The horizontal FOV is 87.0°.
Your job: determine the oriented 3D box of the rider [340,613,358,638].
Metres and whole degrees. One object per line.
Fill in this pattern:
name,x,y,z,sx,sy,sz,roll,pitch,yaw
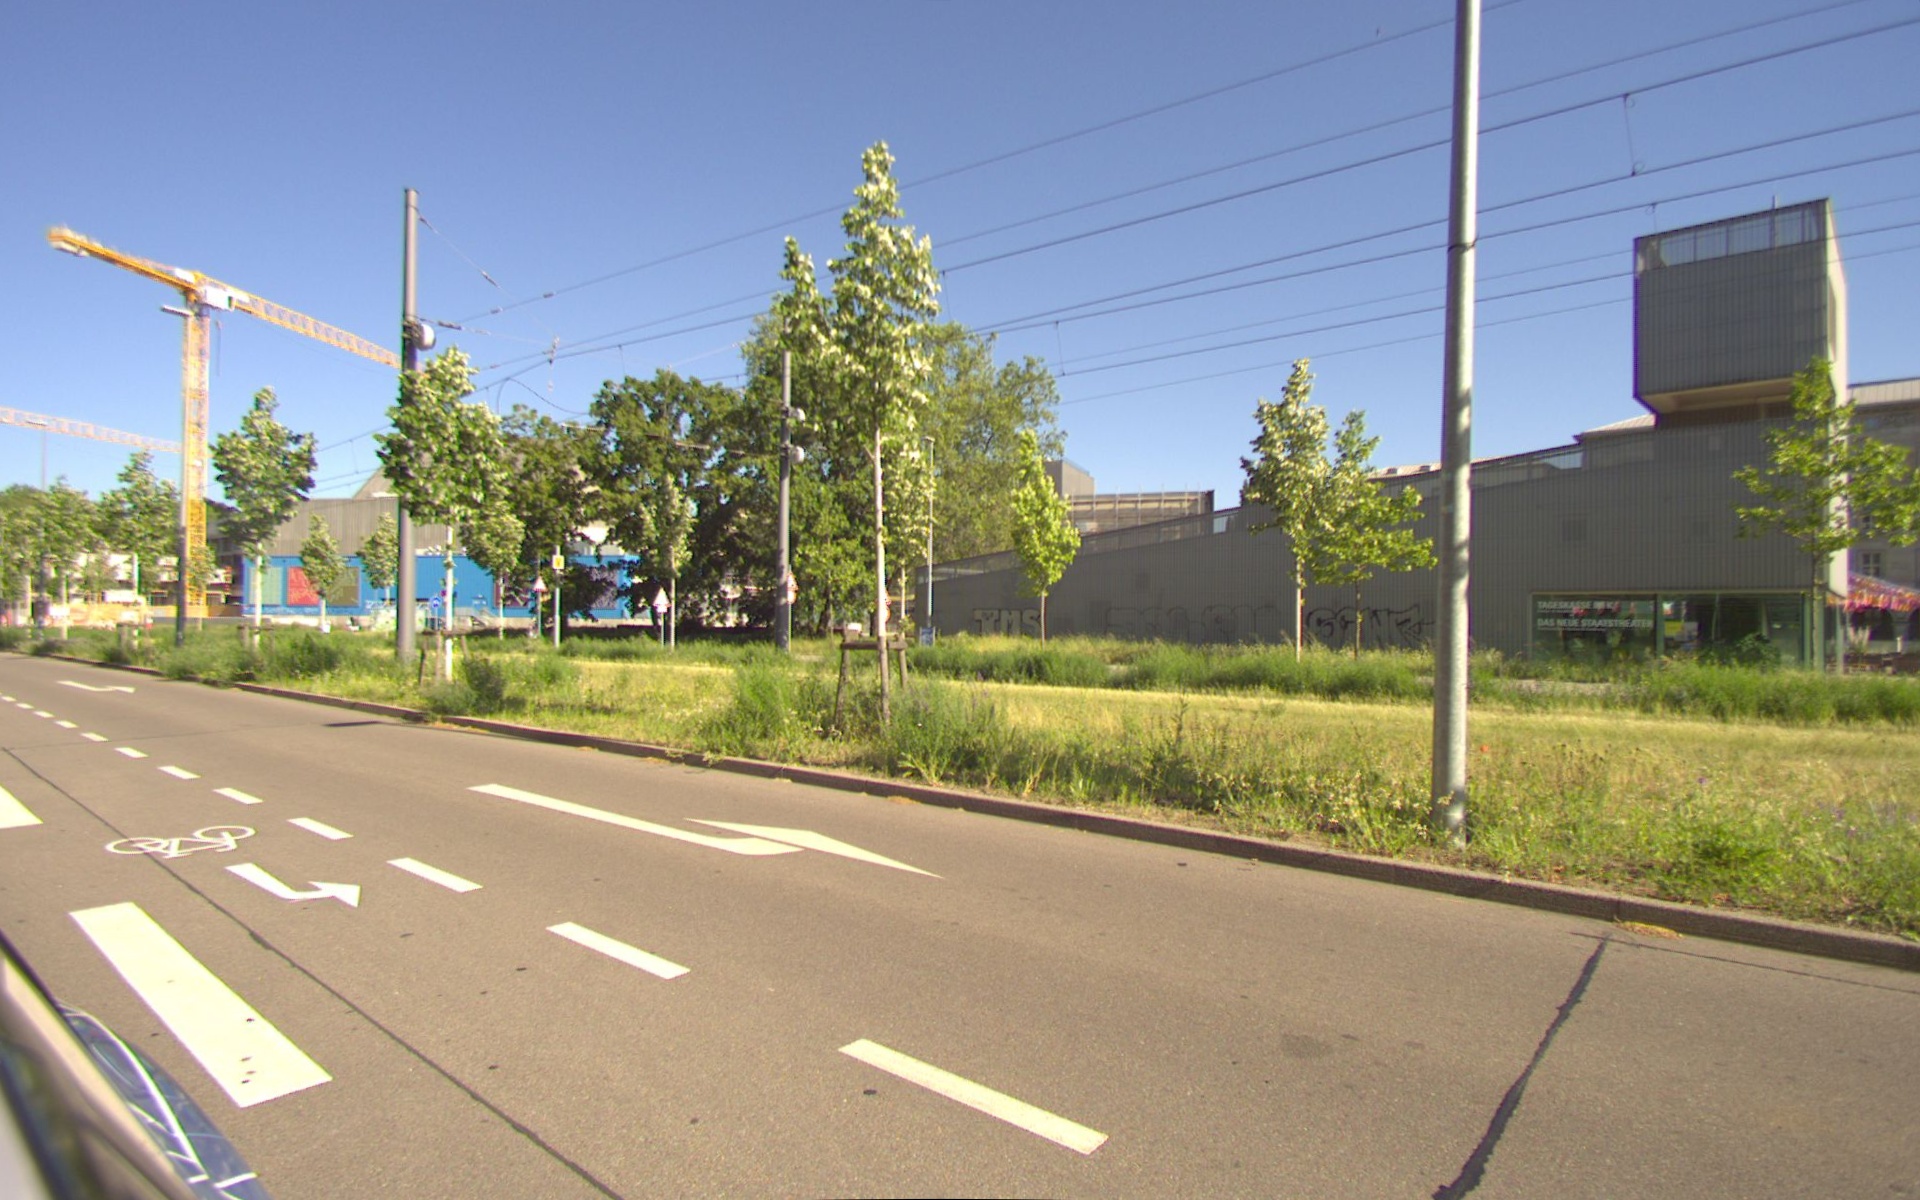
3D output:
rider,-36.935,1.544,61.172,0.631,1.534,0.715,-1,-2,38
